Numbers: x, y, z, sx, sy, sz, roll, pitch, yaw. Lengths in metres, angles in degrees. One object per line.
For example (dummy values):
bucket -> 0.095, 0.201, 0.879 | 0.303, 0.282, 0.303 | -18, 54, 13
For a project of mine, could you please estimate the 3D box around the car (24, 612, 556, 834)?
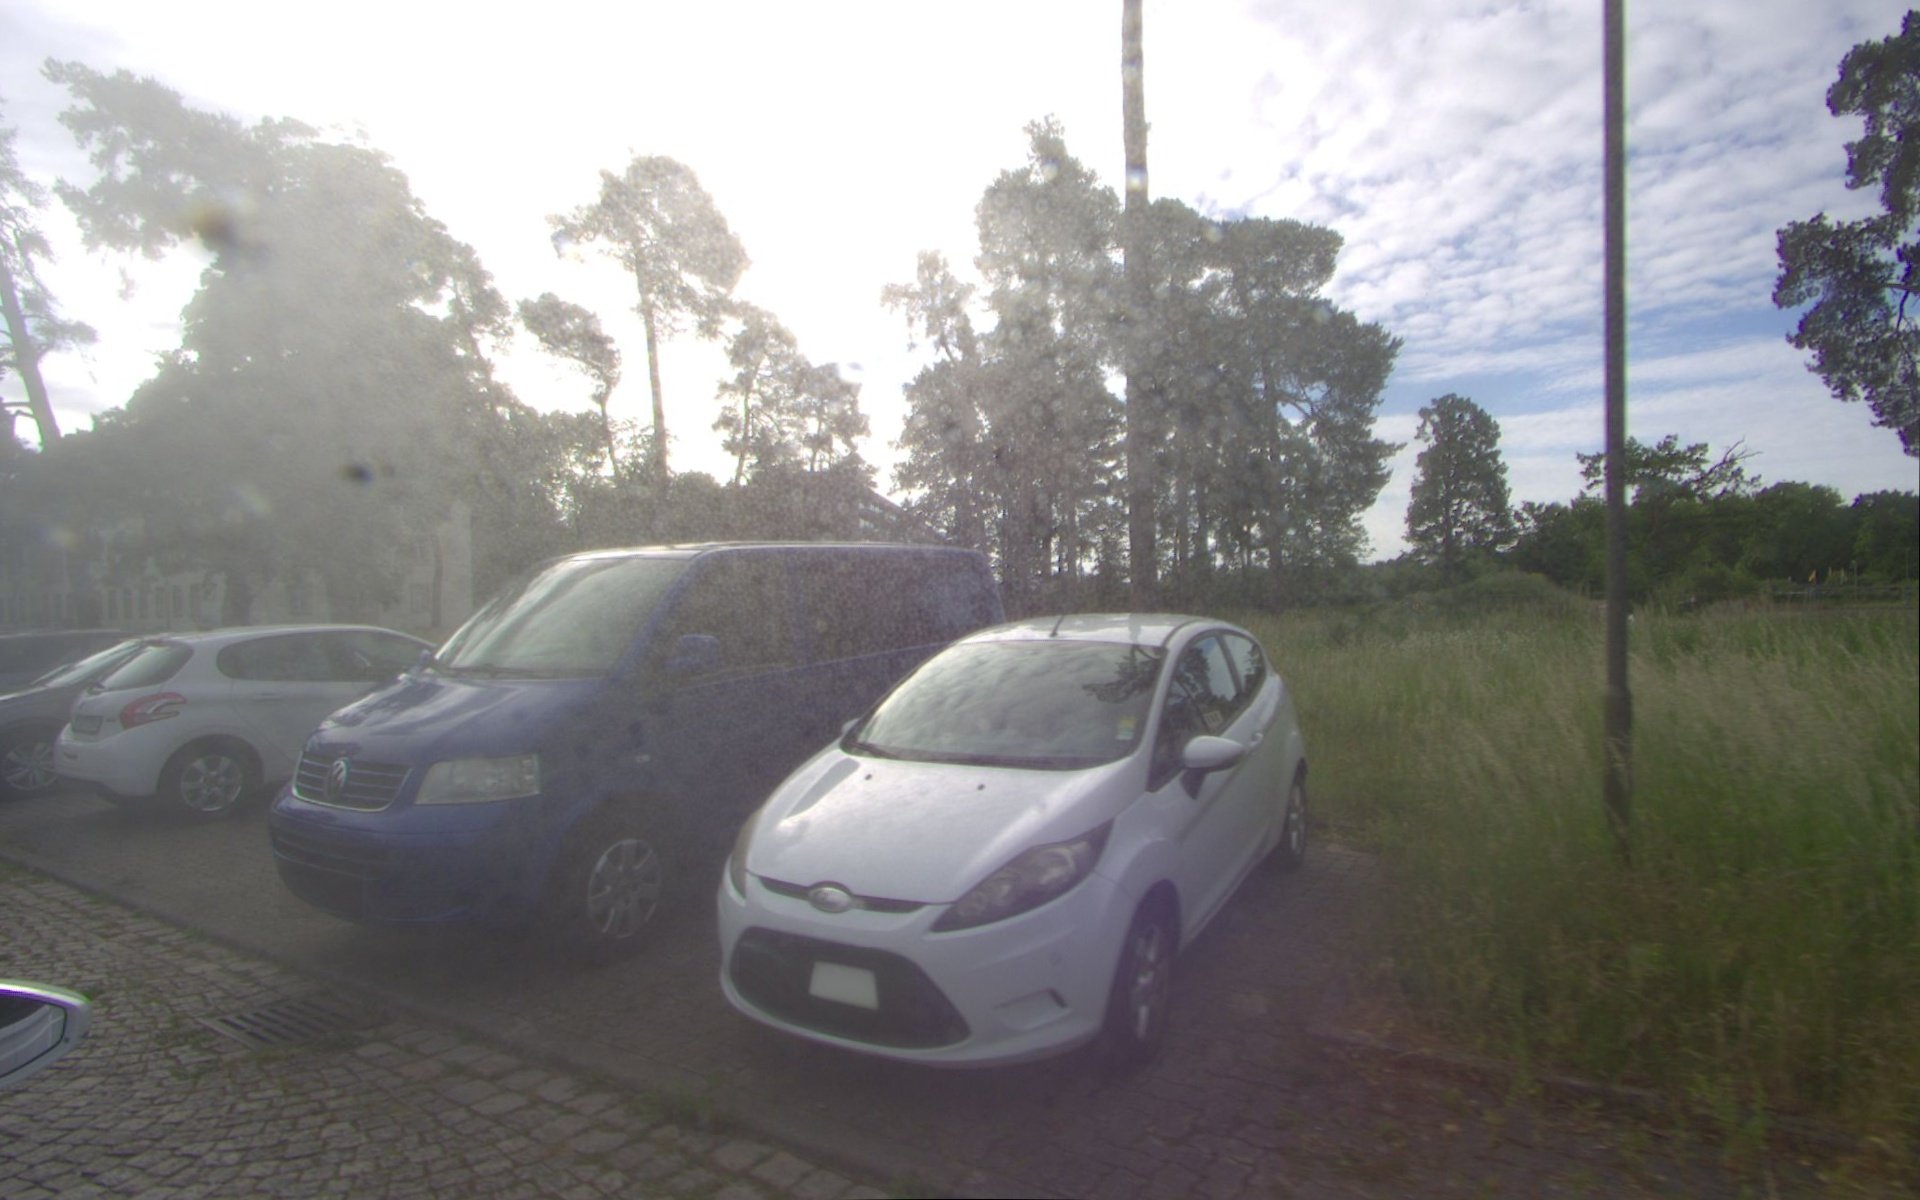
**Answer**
car -> -5.840, 0.910, 9.160 | 1.740, 1.498, 3.645 | -1, 1, 32

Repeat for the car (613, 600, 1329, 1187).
car -> 0.546, 0.787, 4.842 | 1.696, 1.498, 4.091 | -1, 1, 29

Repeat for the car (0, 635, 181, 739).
car -> -12.926, 1.171, 13.440 | 1.606, 1.239, 3.577 | -1, 1, 34

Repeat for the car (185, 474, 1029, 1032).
car -> -1.520, 0.541, 6.203 | 1.937, 2.031, 4.787 | -1, 1, 30

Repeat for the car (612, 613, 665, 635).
car -> -27.797, 2.103, 86.661 | 1.874, 1.827, 4.123 | -1, -2, 34

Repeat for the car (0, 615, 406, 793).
car -> -8.370, 0.949, 10.515 | 1.741, 1.466, 4.120 | -1, 1, 33

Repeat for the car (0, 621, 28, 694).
car -> -20.950, 1.211, 19.242 | 1.608, 1.483, 4.132 | -1, 1, 27

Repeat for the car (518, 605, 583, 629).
car -> -37.305, 1.592, 91.424 | 2.076, 2.045, 5.290 | -1, -2, 33

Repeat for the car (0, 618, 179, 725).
car -> -14.599, 1.080, 15.116 | 1.660, 1.496, 4.097 | -1, 1, 31

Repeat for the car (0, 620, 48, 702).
car -> -19.053, 1.165, 17.532 | 1.680, 1.499, 4.231 | -1, 0, 22

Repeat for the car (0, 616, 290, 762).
car -> -10.582, 1.004, 12.306 | 1.718, 1.507, 3.497 | -1, 1, 32

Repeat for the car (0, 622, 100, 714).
car -> -16.773, 1.149, 16.035 | 1.727, 1.456, 4.184 | -1, 0, 25
